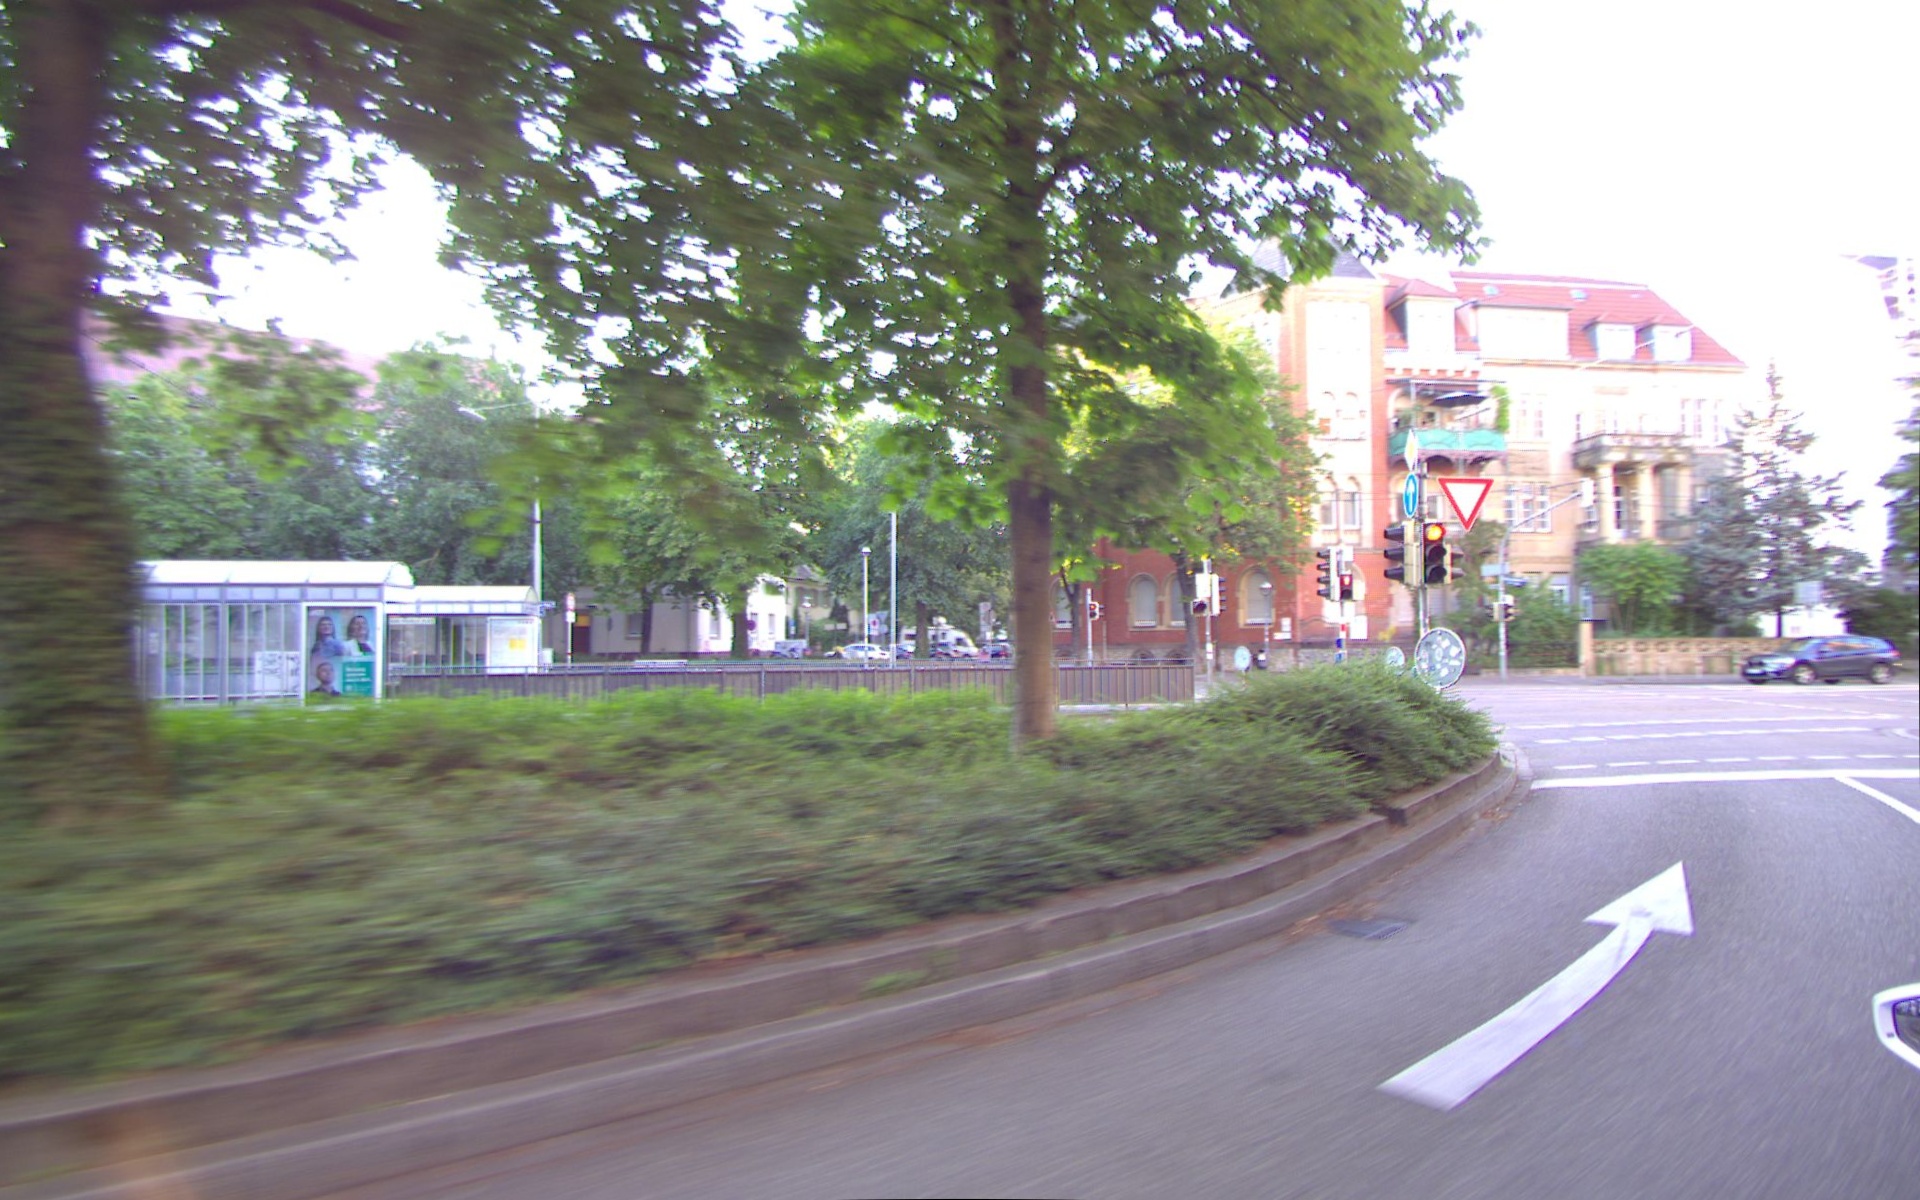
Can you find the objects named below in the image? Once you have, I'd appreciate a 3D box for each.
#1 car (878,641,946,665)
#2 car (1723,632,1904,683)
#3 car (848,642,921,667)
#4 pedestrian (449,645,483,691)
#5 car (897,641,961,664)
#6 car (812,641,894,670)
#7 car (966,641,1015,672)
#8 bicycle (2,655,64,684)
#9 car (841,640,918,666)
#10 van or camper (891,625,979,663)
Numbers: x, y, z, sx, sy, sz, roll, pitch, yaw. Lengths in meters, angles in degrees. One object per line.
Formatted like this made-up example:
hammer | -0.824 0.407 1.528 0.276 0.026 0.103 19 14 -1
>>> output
car | -3.635 4.045 76.459 4.865 1.726 2.002 1 -2 10
car | 27.565 1.845 32.529 4.335 1.529 1.950 0 -2 -4
car | -5.376 3.870 71.812 4.865 1.726 2.002 1 -2 10
pedestrian | -22.831 3.134 46.459 0.998 2.113 1.057 -2 -3 37
car | -2.477 4.215 81.281 4.865 1.726 2.002 1 -2 10
car | -6.829 3.550 64.324 4.865 1.726 2.002 1 -2 10
car | 1.805 3.226 58.086 1.959 1.726 4.724 0 -2 12
bicycle | -39.339 2.948 42.646 1.905 1.166 0.678 1 -3 -42
car | -5.475 3.607 68.738 4.865 1.726 2.002 1 -2 10
van or camper | -2.122 3.768 86.606 7.239 3.123 2.676 1 -2 10
